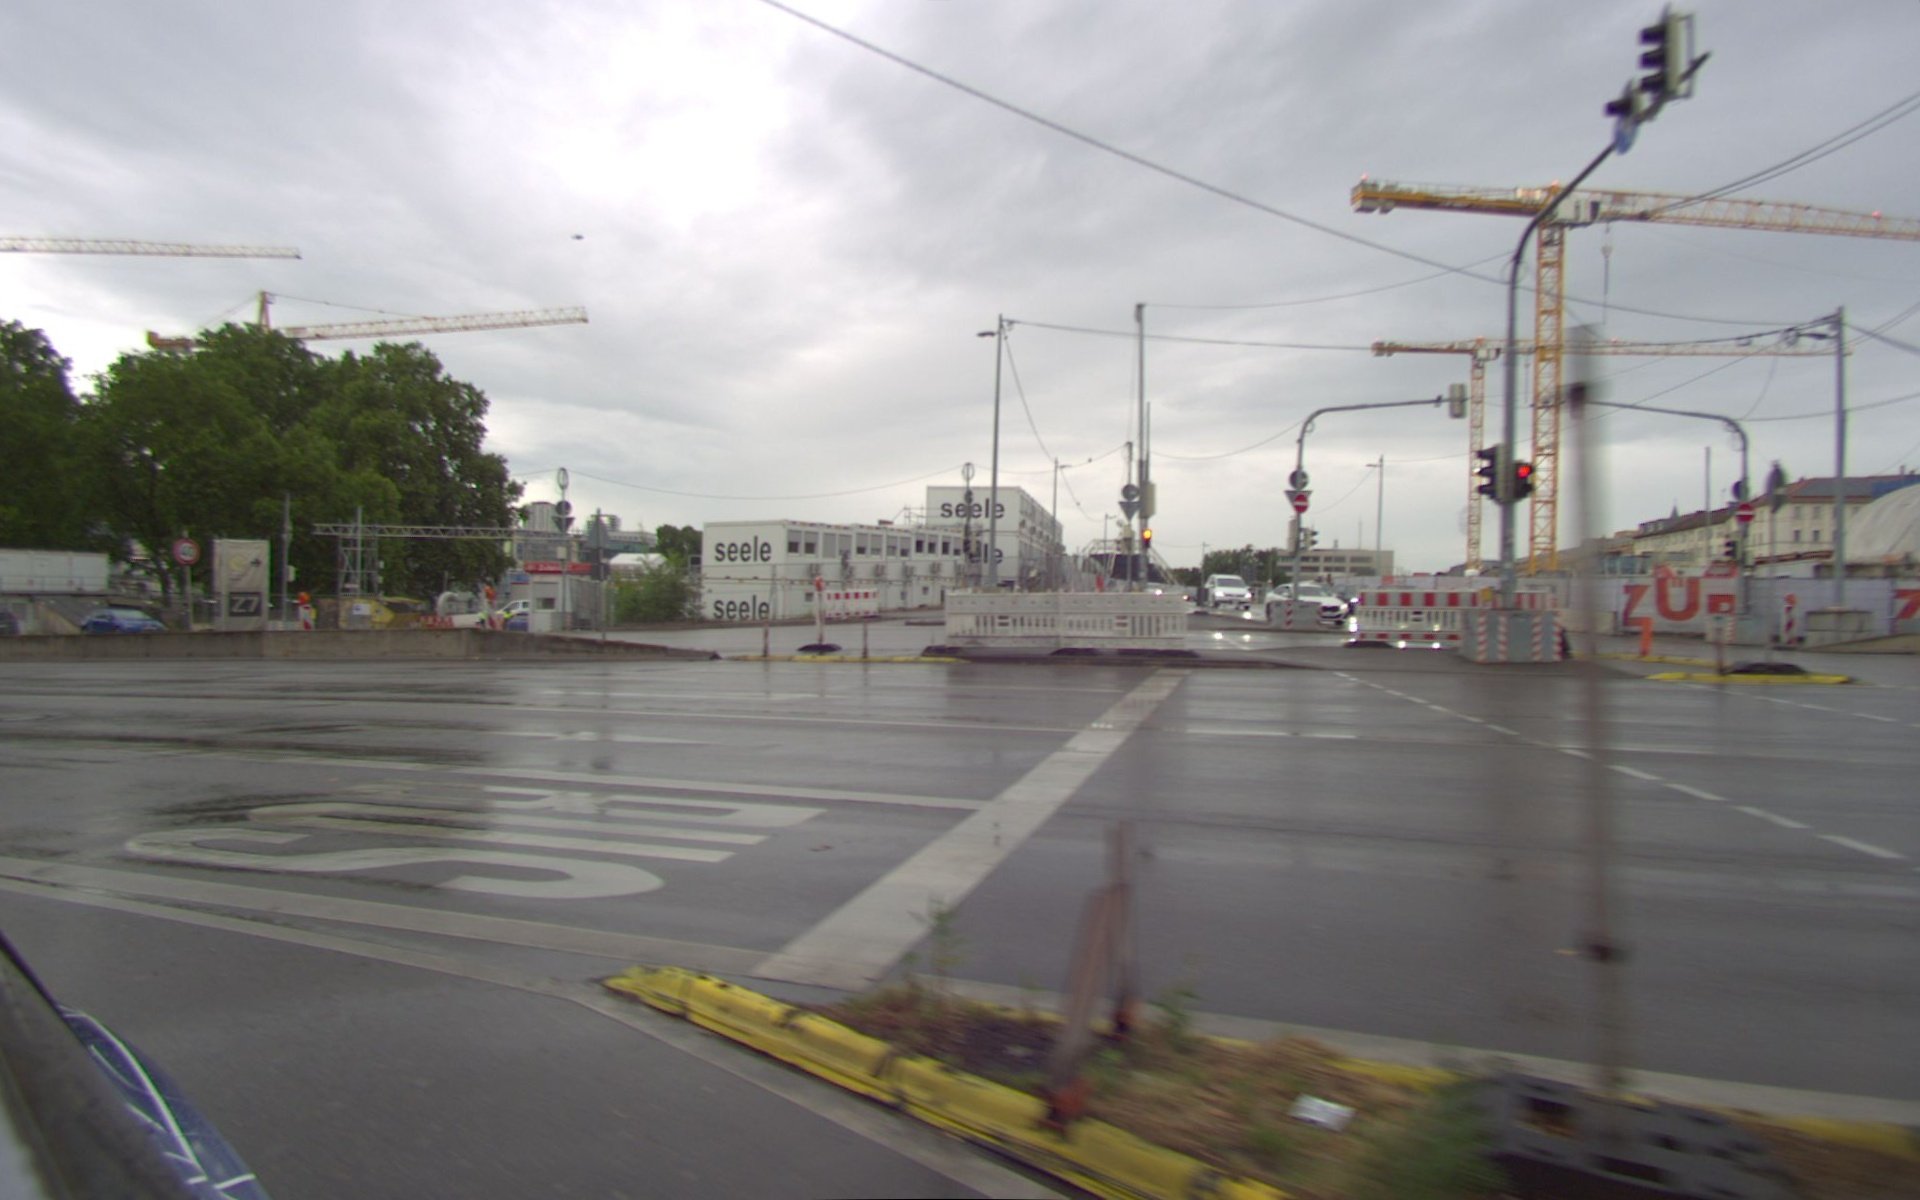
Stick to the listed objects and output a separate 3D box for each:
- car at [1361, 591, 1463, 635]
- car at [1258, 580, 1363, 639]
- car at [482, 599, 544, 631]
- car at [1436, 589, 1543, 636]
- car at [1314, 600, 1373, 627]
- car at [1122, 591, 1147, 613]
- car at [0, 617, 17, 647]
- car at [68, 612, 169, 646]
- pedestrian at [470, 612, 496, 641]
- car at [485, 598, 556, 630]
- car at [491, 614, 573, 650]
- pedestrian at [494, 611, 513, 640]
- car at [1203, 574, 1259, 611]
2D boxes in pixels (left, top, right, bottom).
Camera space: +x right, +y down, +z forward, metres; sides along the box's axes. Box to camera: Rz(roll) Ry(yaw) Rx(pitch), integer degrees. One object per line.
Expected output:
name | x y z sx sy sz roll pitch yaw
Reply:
car | 19.054 0.547 42.879 1.969 1.730 4.428 -1 -1 -5
car | 12.807 0.349 37.288 1.969 2.029 4.428 -1 -1 -5
car | -33.940 1.132 76.910 3.937 2.402 2.003 -1 -1 -7
car | 19.315 0.453 37.093 1.835 1.577 3.802 -1 0 -1
car | 18.731 0.641 49.603 1.630 1.187 4.281 -1 0 6
car | 14.831 0.208 86.090 1.977 1.785 4.344 -1 0 9
car | -50.564 1.657 51.878 4.415 1.501 1.825 -1 -1 26
car | -38.459 1.326 46.257 4.413 1.501 1.826 -1 -1 25
pedestrian | -23.063 1.286 48.927 0.833 1.362 0.738 -1 -1 25
car | -34.383 1.069 79.300 4.865 2.402 2.006 0 -1 -17
car | -20.768 1.524 49.251 1.975 1.519 3.993 -1 1 6
pedestrian | -22.434 1.253 49.777 0.732 1.362 0.840 -1 -1 -17
car | 13.796 -0.372 51.766 1.974 1.785 4.351 -1 0 4
